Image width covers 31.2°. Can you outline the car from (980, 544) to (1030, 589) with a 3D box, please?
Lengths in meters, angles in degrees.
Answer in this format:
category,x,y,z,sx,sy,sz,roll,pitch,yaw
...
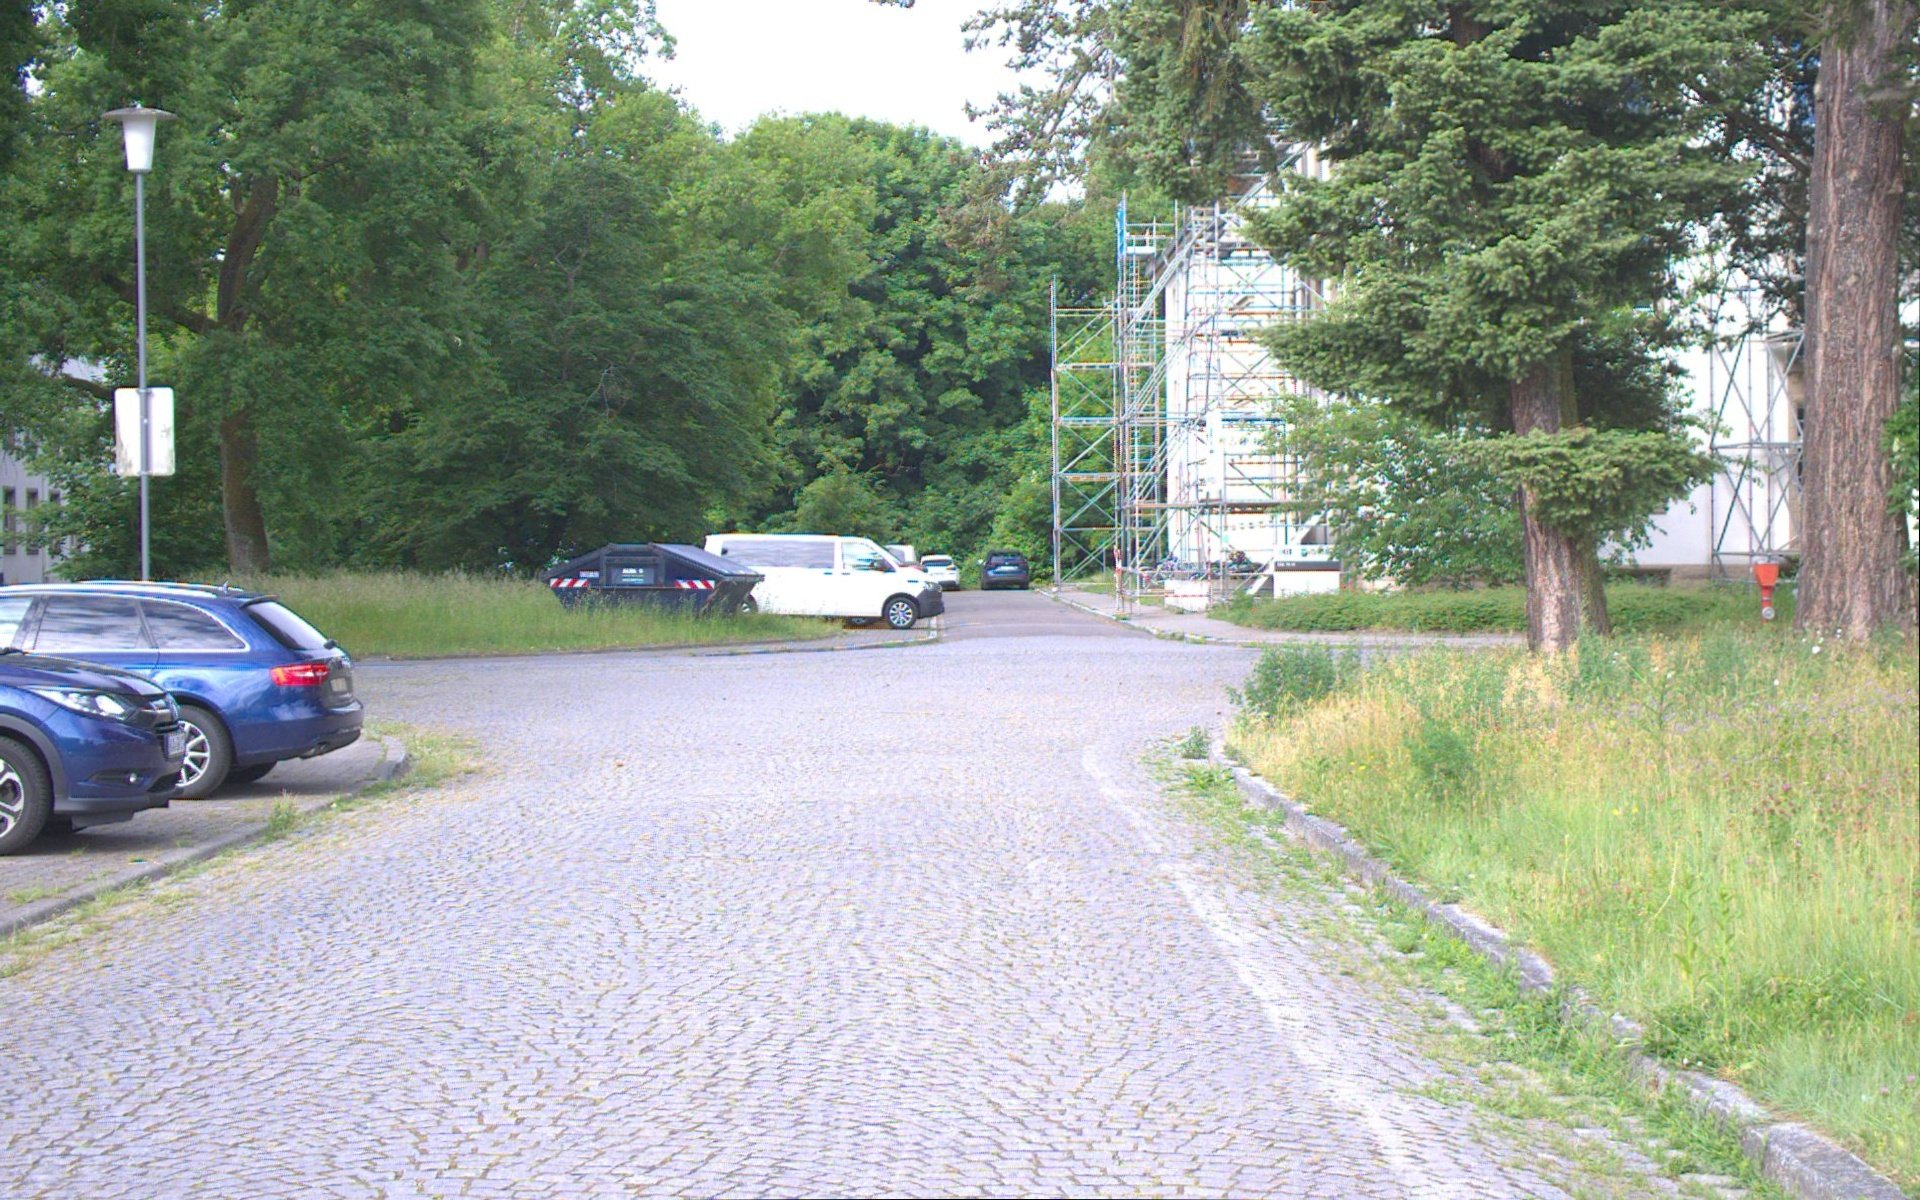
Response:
category,x,y,z,sx,sy,sz,roll,pitch,yaw
car,1.802,-1.345,139.153,1.790,1.714,4.061,-1,-1,-2

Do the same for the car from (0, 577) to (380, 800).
category,x,y,z,sx,sy,sz,roll,pitch,yaw
car,-6.217,0.588,23.819,4.072,1.462,1.625,0,1,3

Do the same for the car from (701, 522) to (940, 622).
category,x,y,z,sx,sy,sz,roll,pitch,yaw
car,-2.928,-0.578,72.787,4.978,2.065,2.052,0,-1,-1

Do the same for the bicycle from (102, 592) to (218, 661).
category,x,y,z,sx,sy,sz,roll,pitch,yaw
bicycle,-12.517,0.411,53.780,1.701,1.050,0.574,-1,-1,-20

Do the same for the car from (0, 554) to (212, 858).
category,x,y,z,sx,sy,sz,roll,pitch,yaw
car,-6.381,0.558,19.121,4.071,1.598,1.788,0,1,-2

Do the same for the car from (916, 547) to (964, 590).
category,x,y,z,sx,sy,sz,roll,pitch,yaw
car,-0.819,-1.265,138.832,1.790,1.630,4.061,-1,-1,-2
